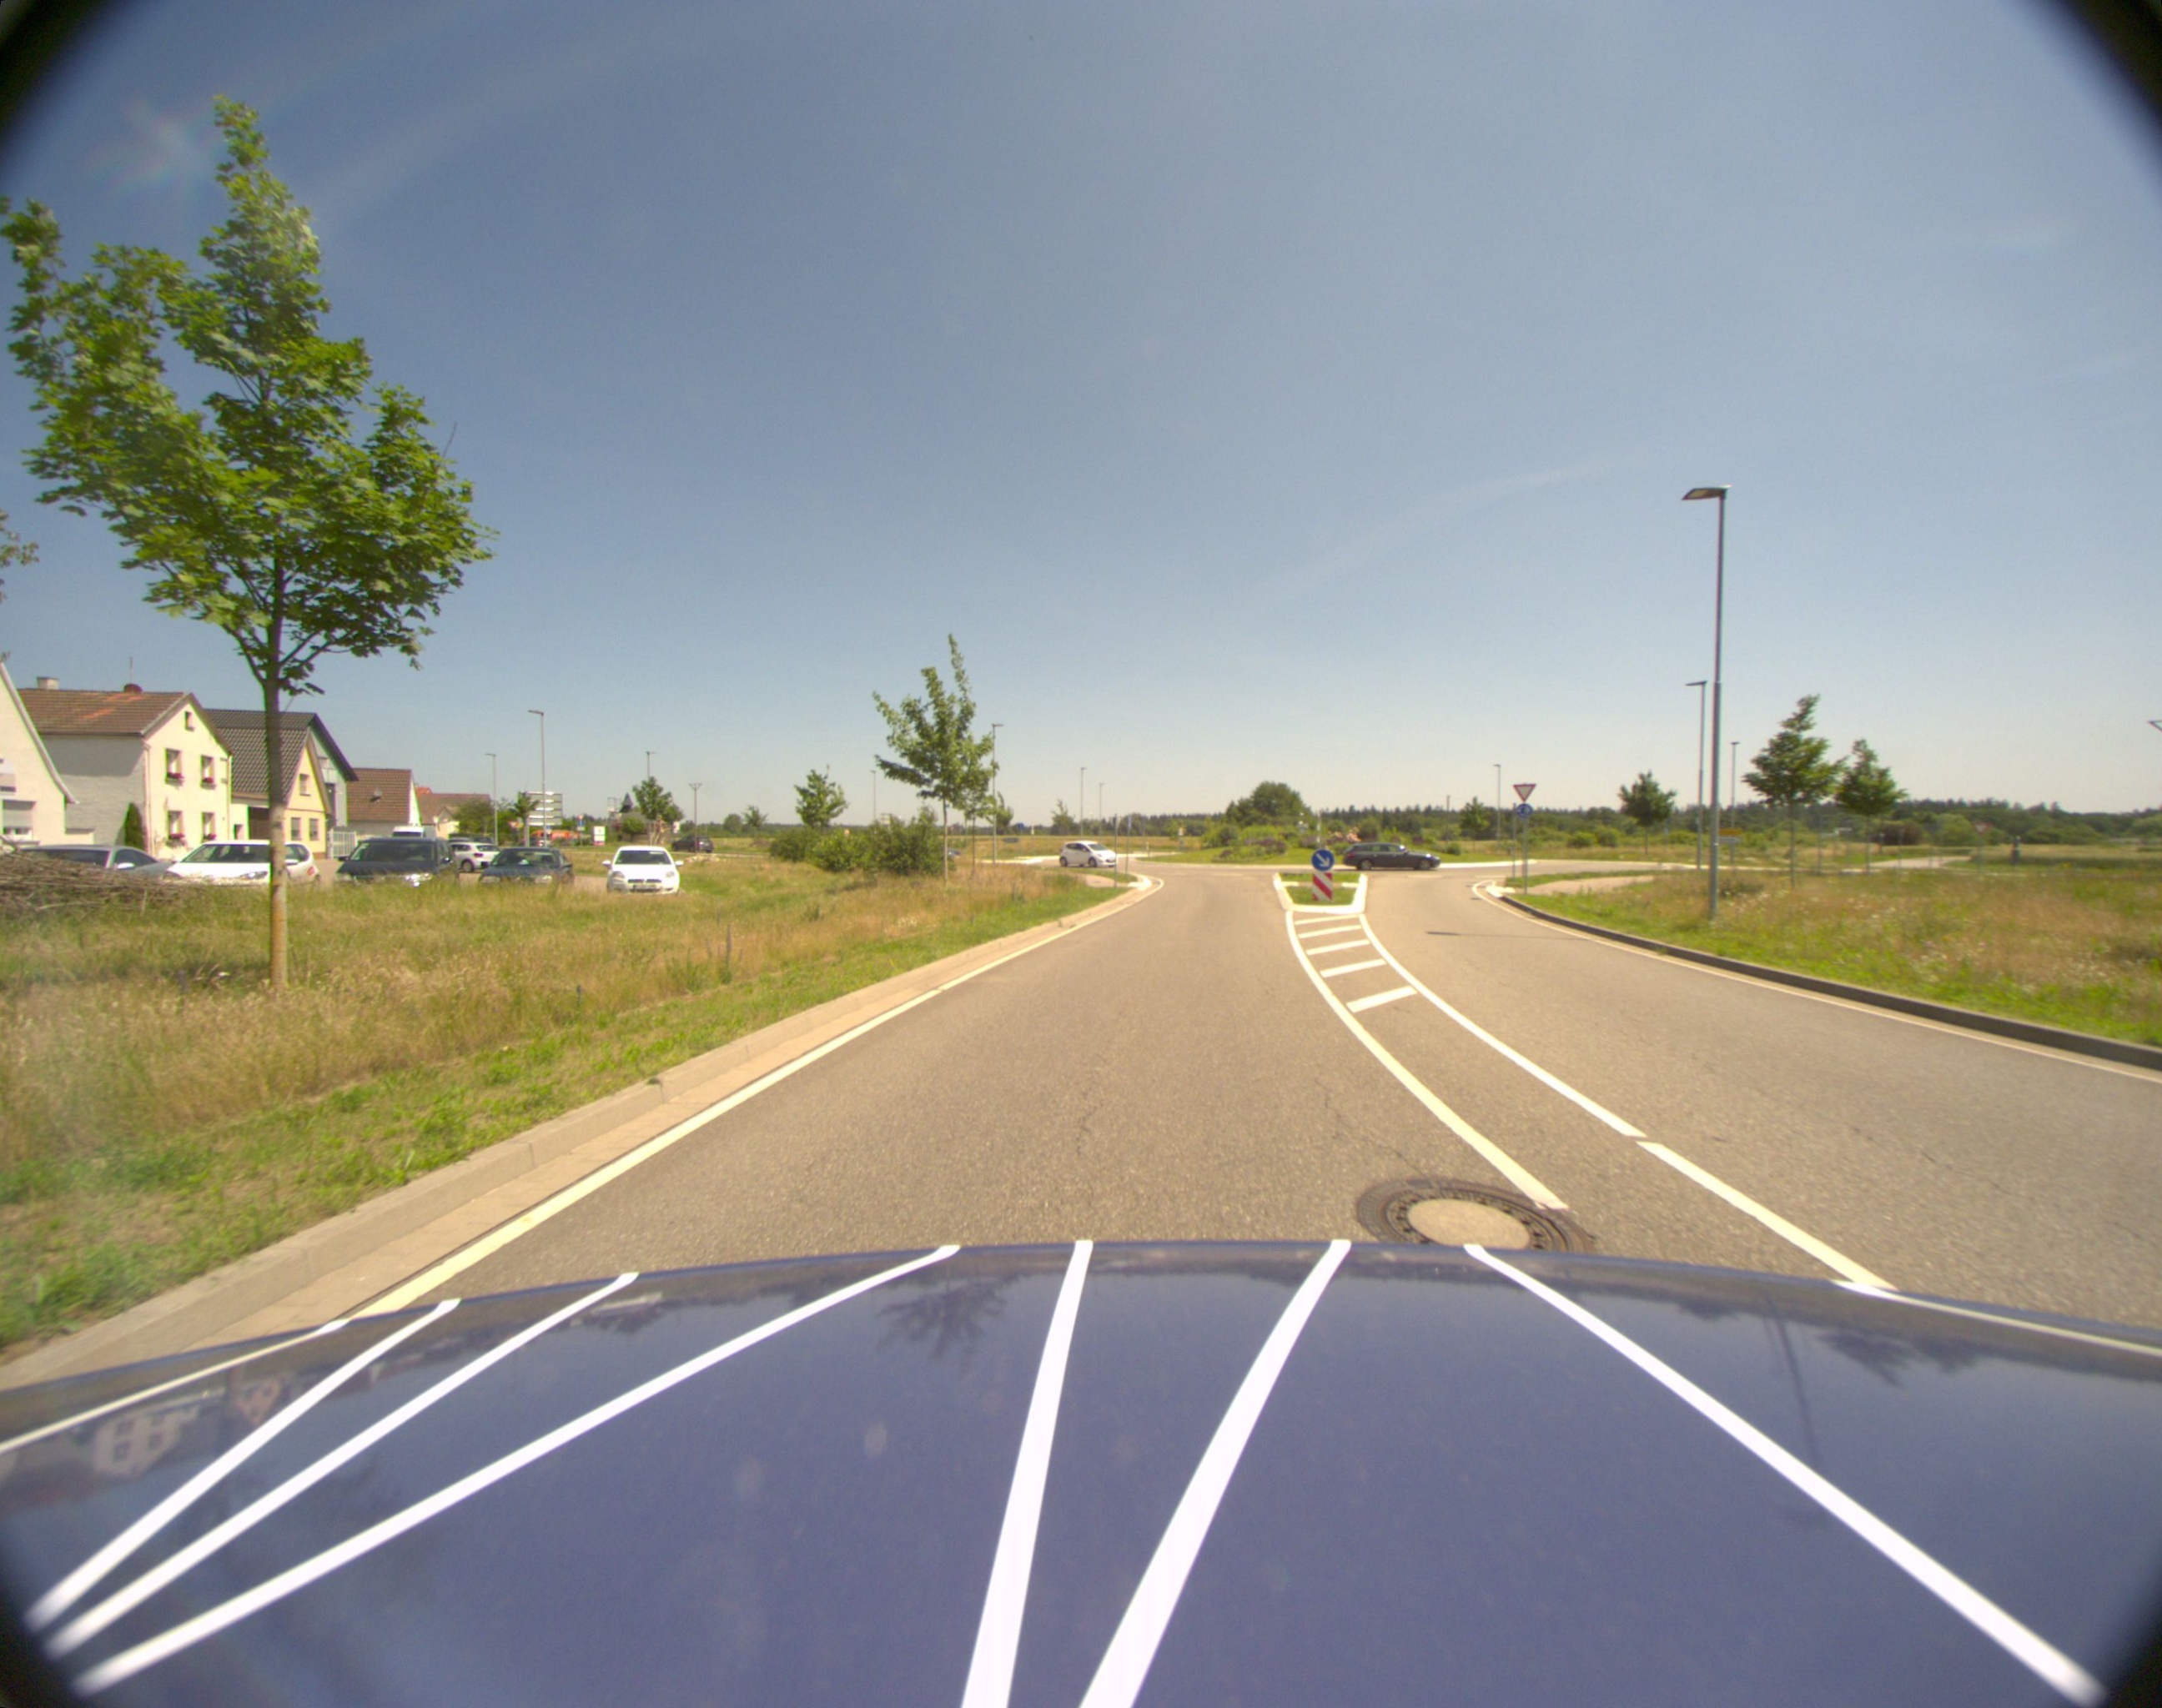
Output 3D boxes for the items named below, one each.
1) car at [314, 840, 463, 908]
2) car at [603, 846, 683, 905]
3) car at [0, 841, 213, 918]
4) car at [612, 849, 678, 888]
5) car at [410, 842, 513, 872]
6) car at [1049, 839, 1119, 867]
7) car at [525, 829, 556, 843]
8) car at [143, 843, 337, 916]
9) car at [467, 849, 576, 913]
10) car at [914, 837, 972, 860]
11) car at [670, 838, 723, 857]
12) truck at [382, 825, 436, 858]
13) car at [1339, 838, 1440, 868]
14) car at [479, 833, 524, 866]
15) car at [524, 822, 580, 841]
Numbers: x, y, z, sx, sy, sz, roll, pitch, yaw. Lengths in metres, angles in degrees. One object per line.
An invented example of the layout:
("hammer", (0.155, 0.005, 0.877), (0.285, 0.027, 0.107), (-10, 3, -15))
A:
("car", (-16.260, 0.422, 18.078), (1.777, 1.434, 3.957), (-1, 0, -30))
("car", (-12.258, 0.509, 21.154), (1.750, 1.420, 3.989), (-1, 2, -32))
("car", (-20.521, 0.474, 16.024), (1.777, 1.434, 3.957), (-1, 0, -31))
("car", (-17.132, 0.517, 29.764), (1.750, 1.304, 3.988), (-1, 2, -37))
("car", (-29.762, 0.117, 36.527), (3.993, 1.385, 1.652), (1, 2, 11))
("car", (0.138, -0.097, 48.298), (1.873, 1.553, 4.507), (-2, 3, -42))
("car", (-64.401, -2.163, 90.511), (3.988, 1.607, 1.903), (1, 2, 37))
("car", (-18.735, 0.503, 17.171), (1.777, 1.434, 3.957), (-1, 0, -30))
("car", (-14.068, 0.620, 19.324), (1.777, 1.434, 3.957), (-1, 0, -30))
("car", (-10.249, -0.447, 56.417), (4.139, 1.553, 1.725), (1, 3, 32))
("car", (-36.734, -0.628, 72.589), (4.876, 1.640, 1.957), (-1, 2, 28))
("truck", (-53.440, -0.996, 60.525), (2.241, 2.492, 5.620), (-1, 2, -31))
("car", (15.826, -0.085, 39.185), (4.513, 1.427, 1.870), (0, 4, 11))
("car", (-34.425, -0.304, 45.235), (1.858, 1.820, 3.989), (-1, 2, -34))
("car", (-75.468, -3.181, 108.453), (6.141, 2.569, 2.352), (0, 2, -18))
